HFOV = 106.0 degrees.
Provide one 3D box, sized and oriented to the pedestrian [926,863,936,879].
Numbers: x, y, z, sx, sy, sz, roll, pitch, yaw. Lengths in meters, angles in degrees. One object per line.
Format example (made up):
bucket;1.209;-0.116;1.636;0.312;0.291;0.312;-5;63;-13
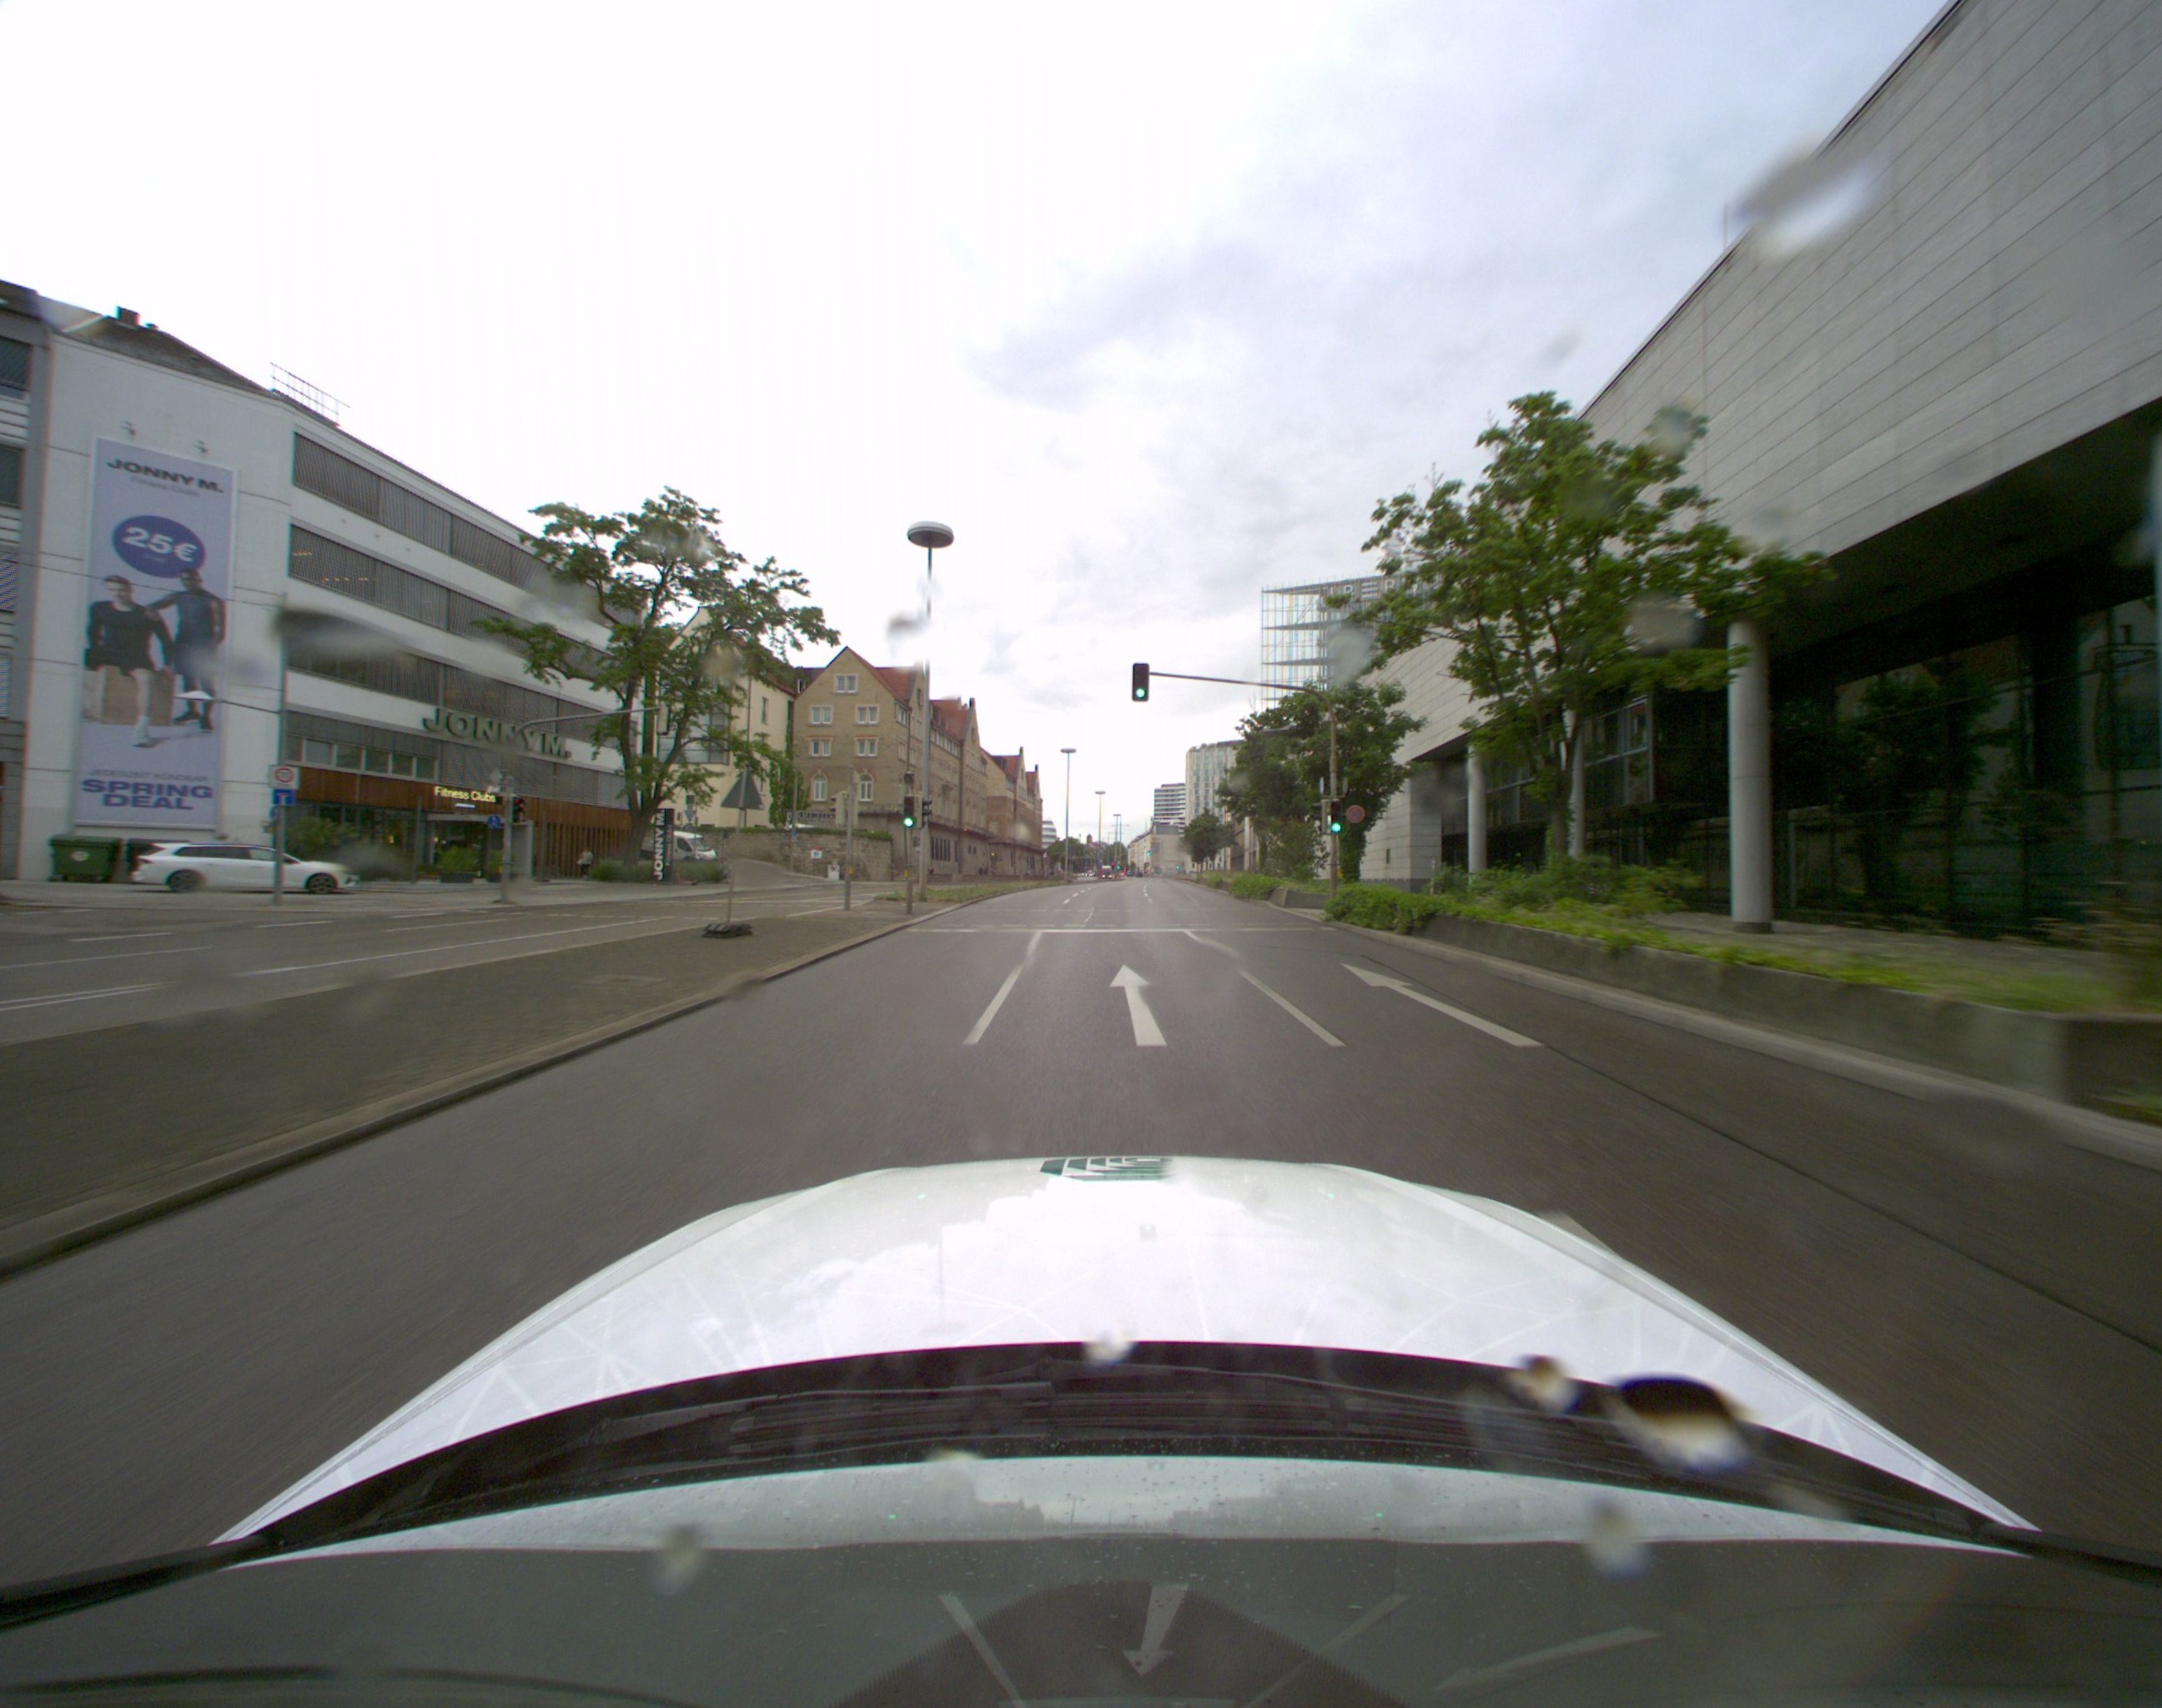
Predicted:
pedestrian;-13.878;1.605;75.483;0.750;1.478;0.715;-1;0;4

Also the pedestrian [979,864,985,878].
pedestrian;-12.204;2.061;100.619;0.637;1.746;0.621;-1;0;3

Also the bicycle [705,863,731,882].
bicycle;-19.406;1.007;43.592;0.454;0.991;1.761;1;-1;5

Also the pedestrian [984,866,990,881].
pedestrian;-11.545;2.383;99.912;0.637;1.746;0.621;-1;0;3

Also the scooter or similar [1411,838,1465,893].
scooter or similar;10.280;0.328;23.455;1.316;1.531;0.503;1;0;6

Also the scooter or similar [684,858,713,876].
scooter or similar;-22.611;0.746;48.124;1.463;0.921;0.444;5;0;3

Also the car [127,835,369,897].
car;-24.901;0.402;24.594;1.975;1.654;4.871;1;-2;44

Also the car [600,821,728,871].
car;-26.589;-0.551;52.044;6.869;2.275;2.519;7;3;5

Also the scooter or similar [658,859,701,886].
scooter or similar;-19.434;0.895;39.445;1.758;1.247;0.367;4;-2;-24

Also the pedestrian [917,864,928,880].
pedestrian;-14.710;1.636;75.556;0.750;1.478;0.715;-1;0;4

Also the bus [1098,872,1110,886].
bus;6.374;6.941;223.606;2.685;3.560;10.105;-1;-2;5

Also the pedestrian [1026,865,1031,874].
pedestrian;-8.756;2.591;135.578;0.750;1.478;0.715;-1;0;4

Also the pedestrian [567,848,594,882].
pedestrian;-24.388;0.514;39.699;0.765;1.641;0.843;-1;0;5
